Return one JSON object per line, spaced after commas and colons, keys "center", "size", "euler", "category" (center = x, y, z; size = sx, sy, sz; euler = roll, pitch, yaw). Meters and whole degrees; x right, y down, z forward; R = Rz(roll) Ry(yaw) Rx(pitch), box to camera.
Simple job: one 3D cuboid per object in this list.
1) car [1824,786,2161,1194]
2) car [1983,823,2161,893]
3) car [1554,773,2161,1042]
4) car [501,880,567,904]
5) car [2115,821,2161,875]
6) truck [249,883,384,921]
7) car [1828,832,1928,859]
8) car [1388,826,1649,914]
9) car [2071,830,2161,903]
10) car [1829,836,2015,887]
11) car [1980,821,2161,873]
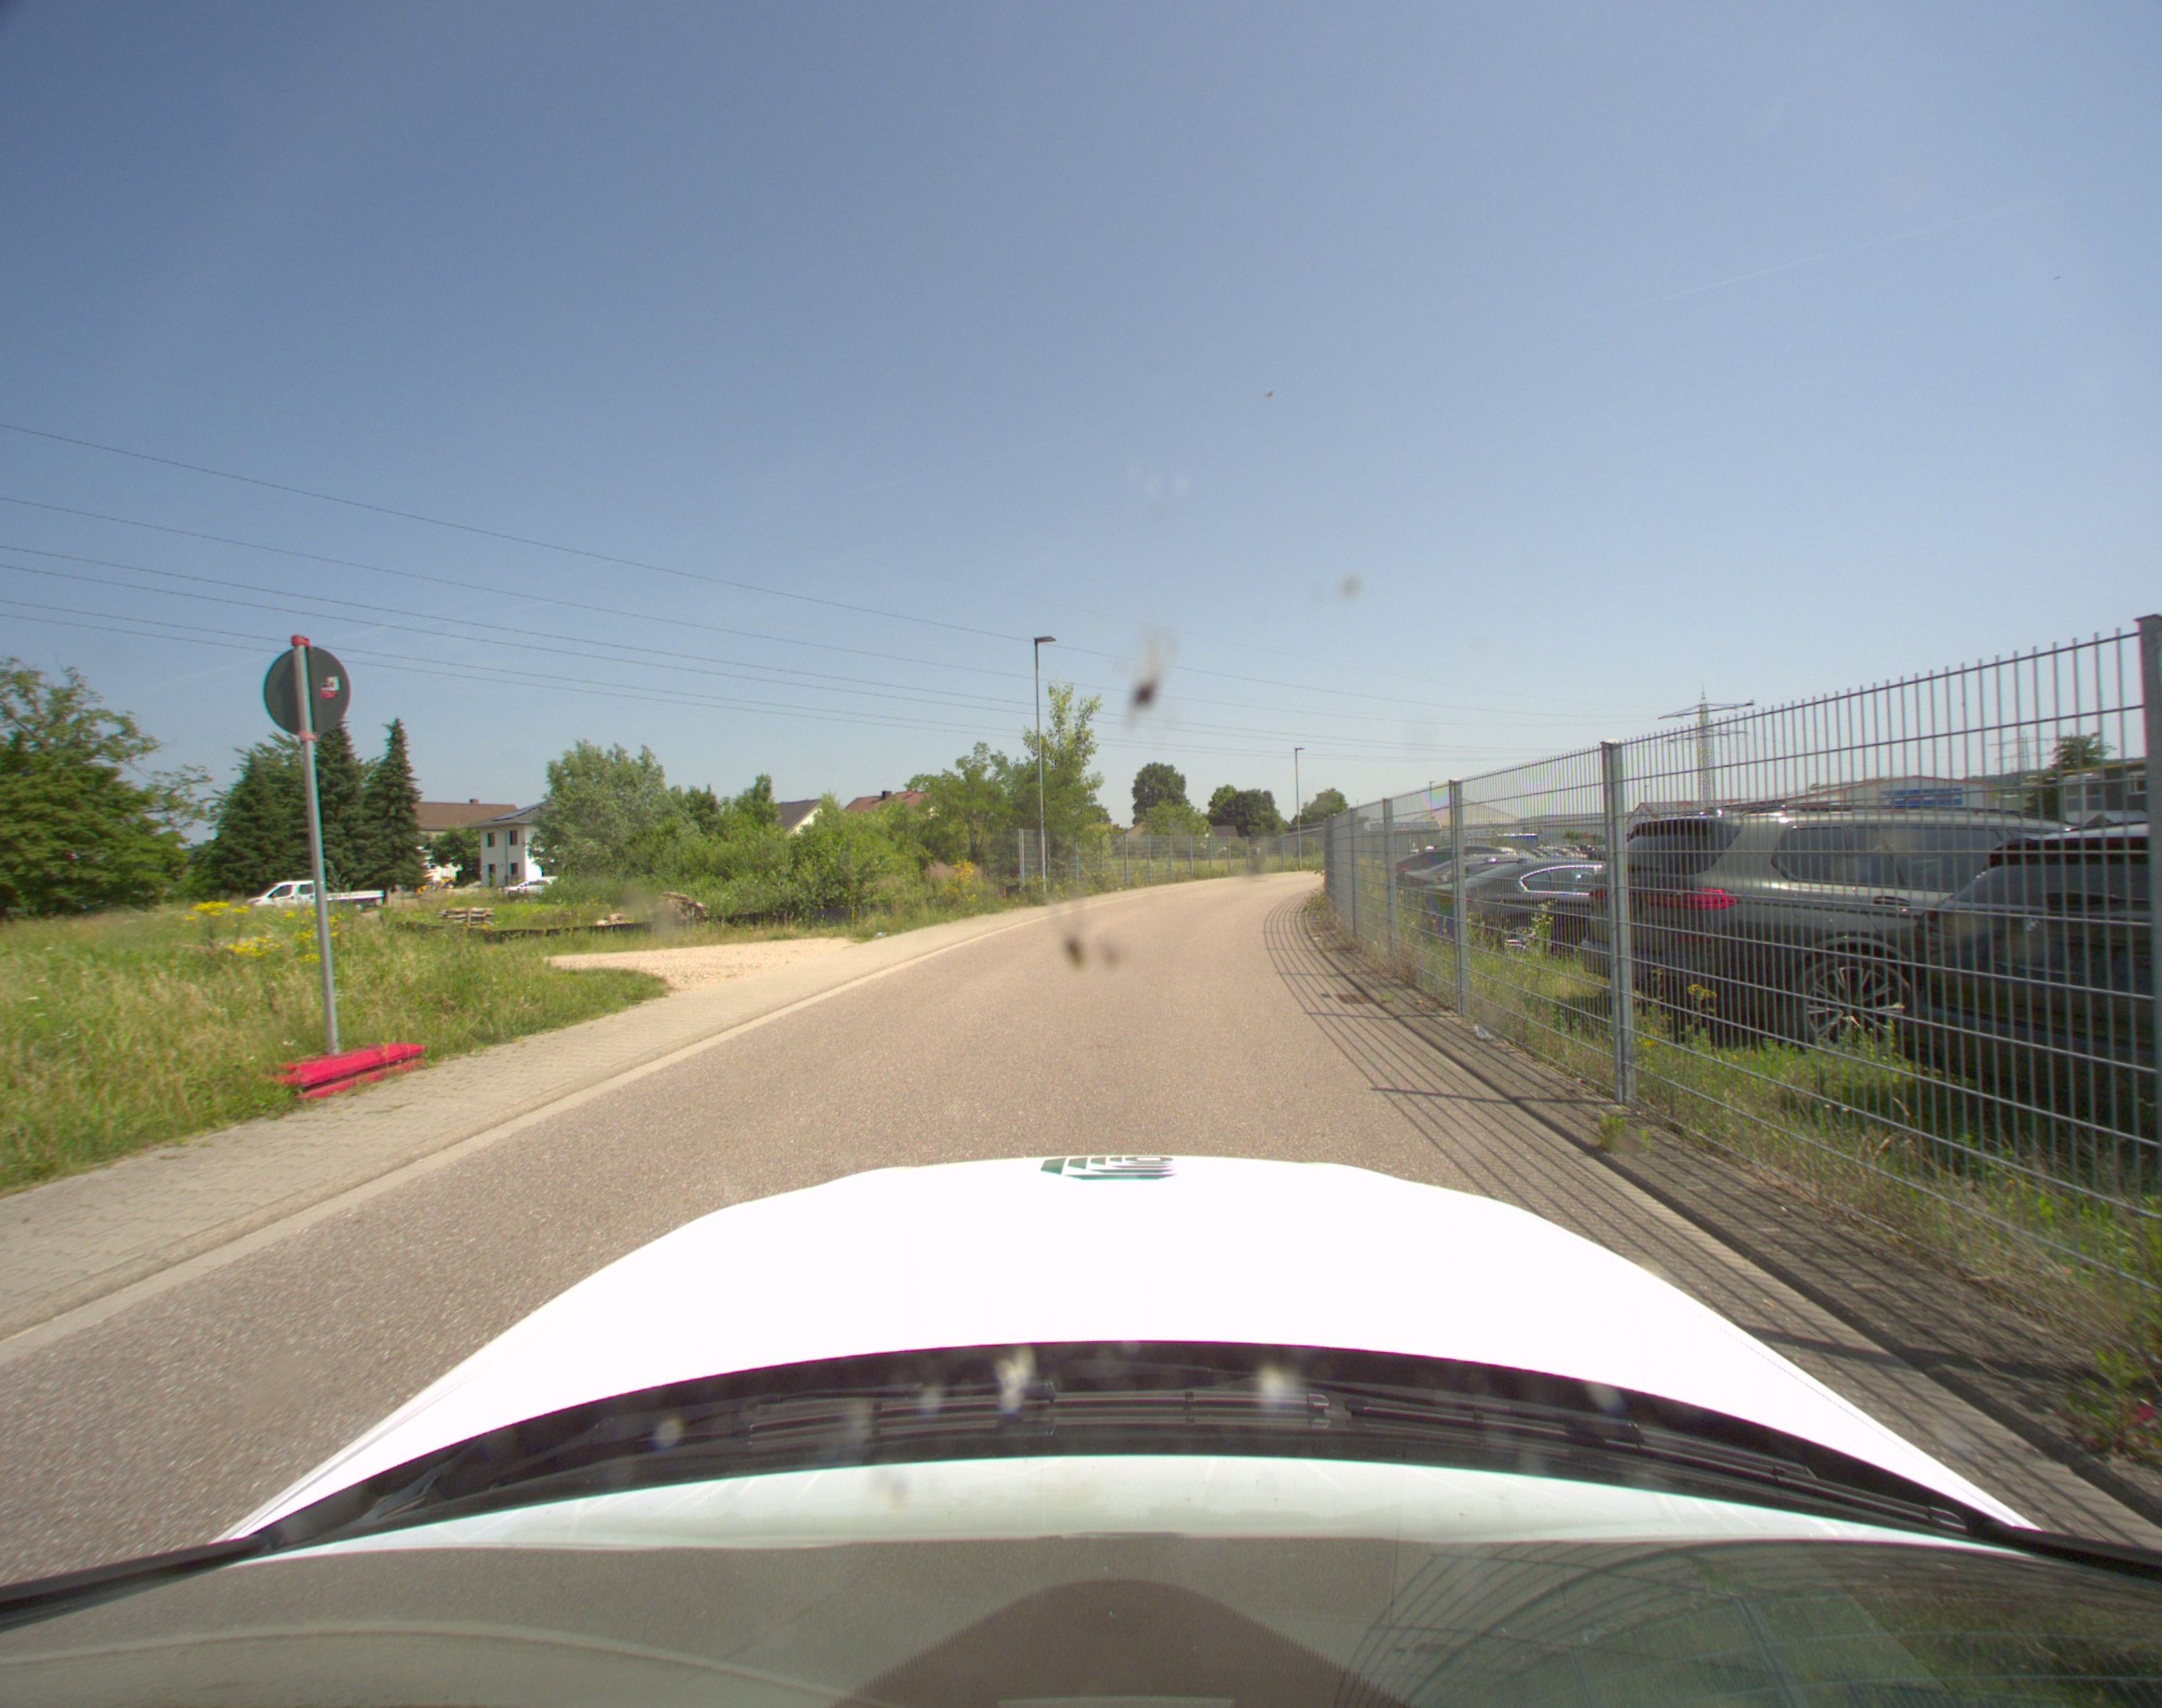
{"center": [6.410, 0.452, 3.745], "size": [4.275, 1.603, 1.694], "euler": [-2, 0, 4], "category": "car"}
{"center": [23.573, 0.061, 18.051], "size": [4.522, 1.432, 1.671], "euler": [-2, 0, 21], "category": "car"}
{"center": [6.614, 0.366, 6.414], "size": [4.660, 1.769, 1.746], "euler": [-2, 0, 7], "category": "car"}
{"center": [-45.751, 3.164, 68.167], "size": [4.281, 1.694, 1.975], "euler": [-2, 0, -45], "category": "car"}
{"center": [31.493, -0.228, 22.210], "size": [3.784, 1.461, 1.597], "euler": [-2, 0, 21], "category": "car"}
{"center": [-48.049, 2.962, 51.333], "size": [2.093, 2.010, 5.928], "euler": [-2, 0, 38], "category": "truck"}
{"center": [59.949, -0.644, 61.389], "size": [5.016, 1.899, 1.868], "euler": [-1, -1, 22], "category": "car"}
{"center": [8.675, 0.339, 16.616], "size": [4.431, 1.582, 1.805], "euler": [-2, 0, 20], "category": "car"}
{"center": [22.884, 0.157, 15.588], "size": [4.703, 1.352, 1.831], "euler": [-2, 0, 21], "category": "car"}
{"center": [26.387, 0.227, 25.717], "size": [3.729, 1.437, 1.620], "euler": [-2, 0, 21], "category": "car"}
{"center": [31.003, -0.216, 25.297], "size": [3.784, 1.461, 1.597], "euler": [-2, 0, 21], "category": "car"}
